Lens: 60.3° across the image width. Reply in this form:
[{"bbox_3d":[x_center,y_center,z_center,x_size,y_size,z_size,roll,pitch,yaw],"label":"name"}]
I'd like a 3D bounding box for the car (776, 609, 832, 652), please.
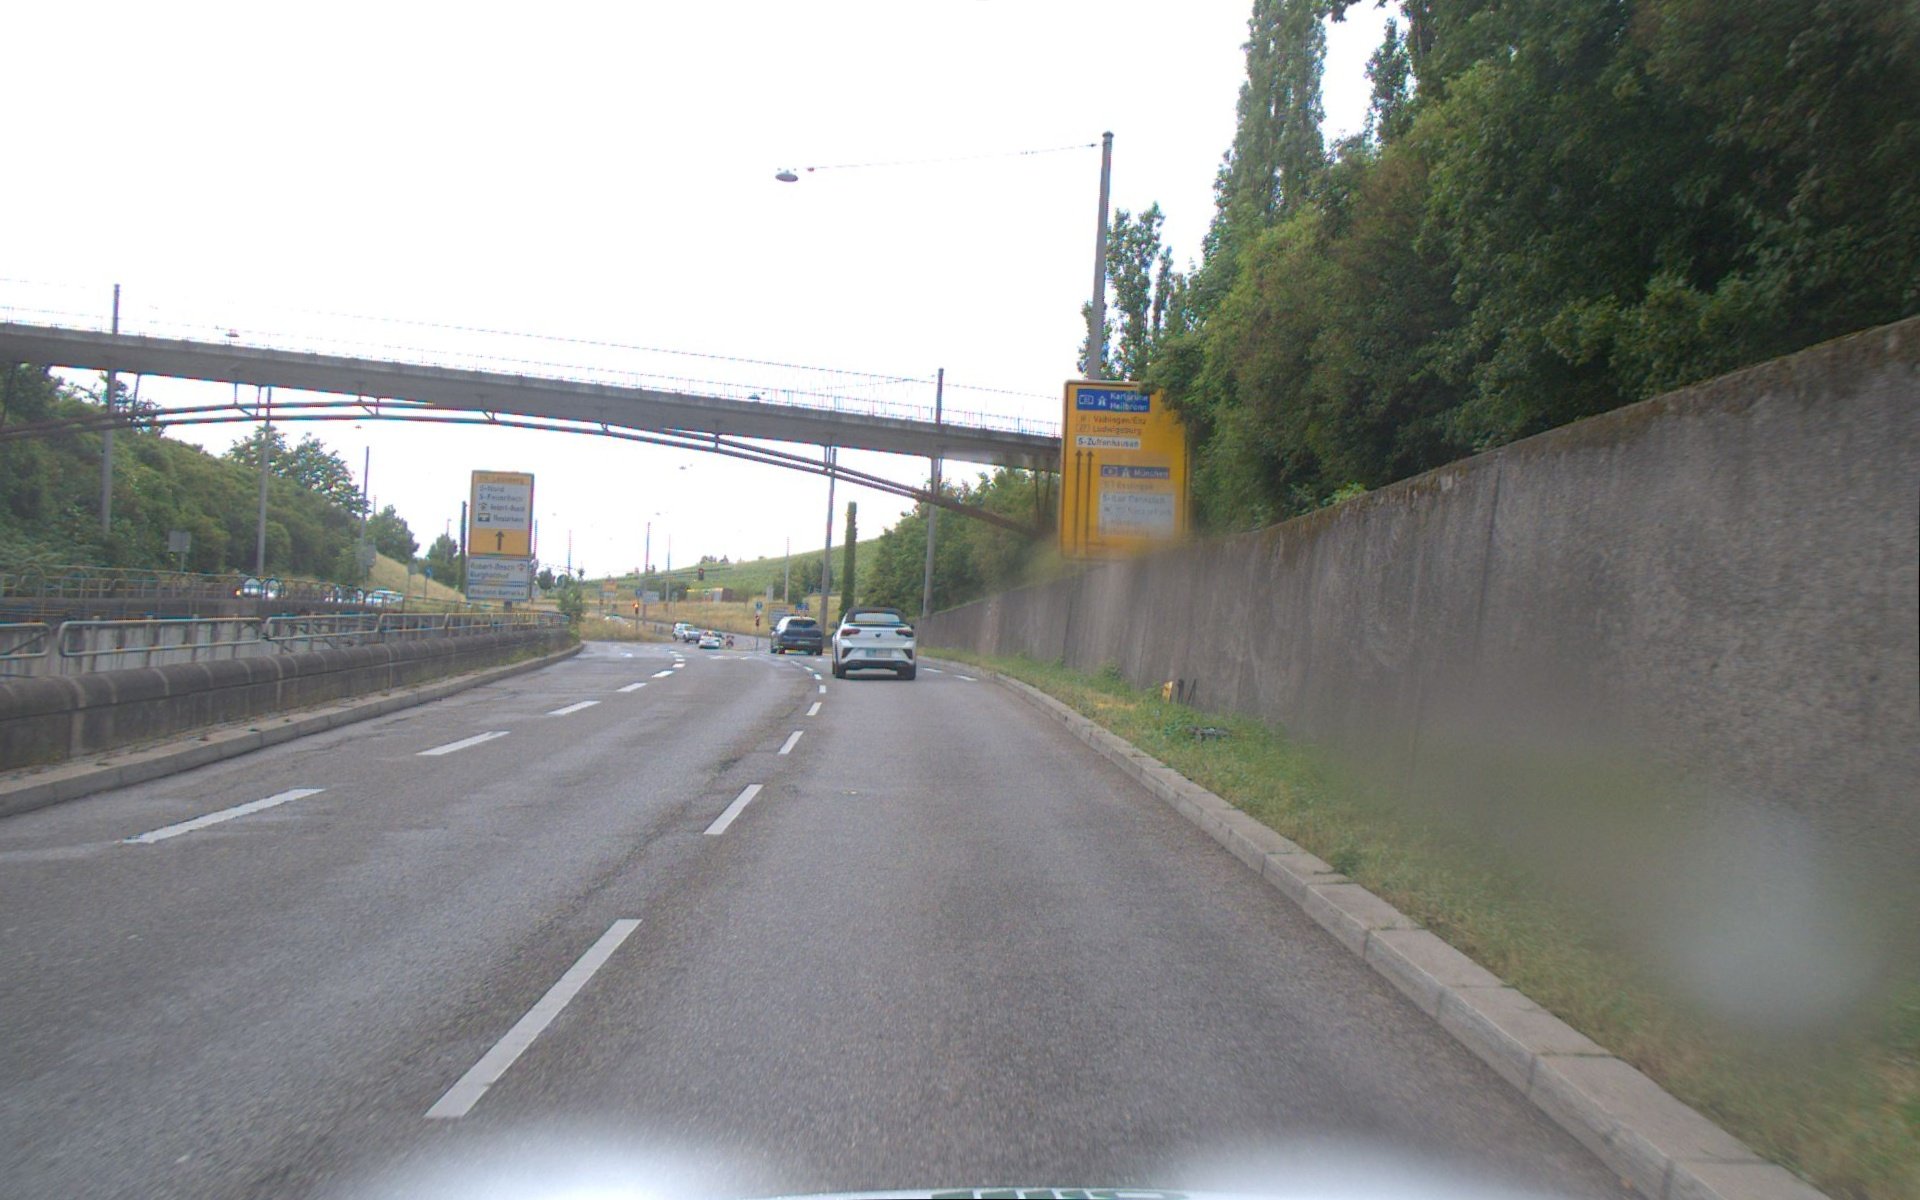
[{"bbox_3d":[-6.236,1.185,65.815,1.891,1.627,4.052,1,0,-10],"label":"car"}]

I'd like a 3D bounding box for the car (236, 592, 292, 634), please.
[{"bbox_3d":[-33.600,0.653,79.950,1.642,1.949,4.544,1,-1,-12],"label":"car"}]

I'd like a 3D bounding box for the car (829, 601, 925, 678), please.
[{"bbox_3d":[-1.920,0.845,37.028,1.957,1.606,4.121,1,0,-5],"label":"car"}]

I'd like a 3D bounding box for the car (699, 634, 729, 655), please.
[{"bbox_3d":[-19.961,3.621,134.235,1.738,1.545,3.724,5,-3,1],"label":"car"}]
